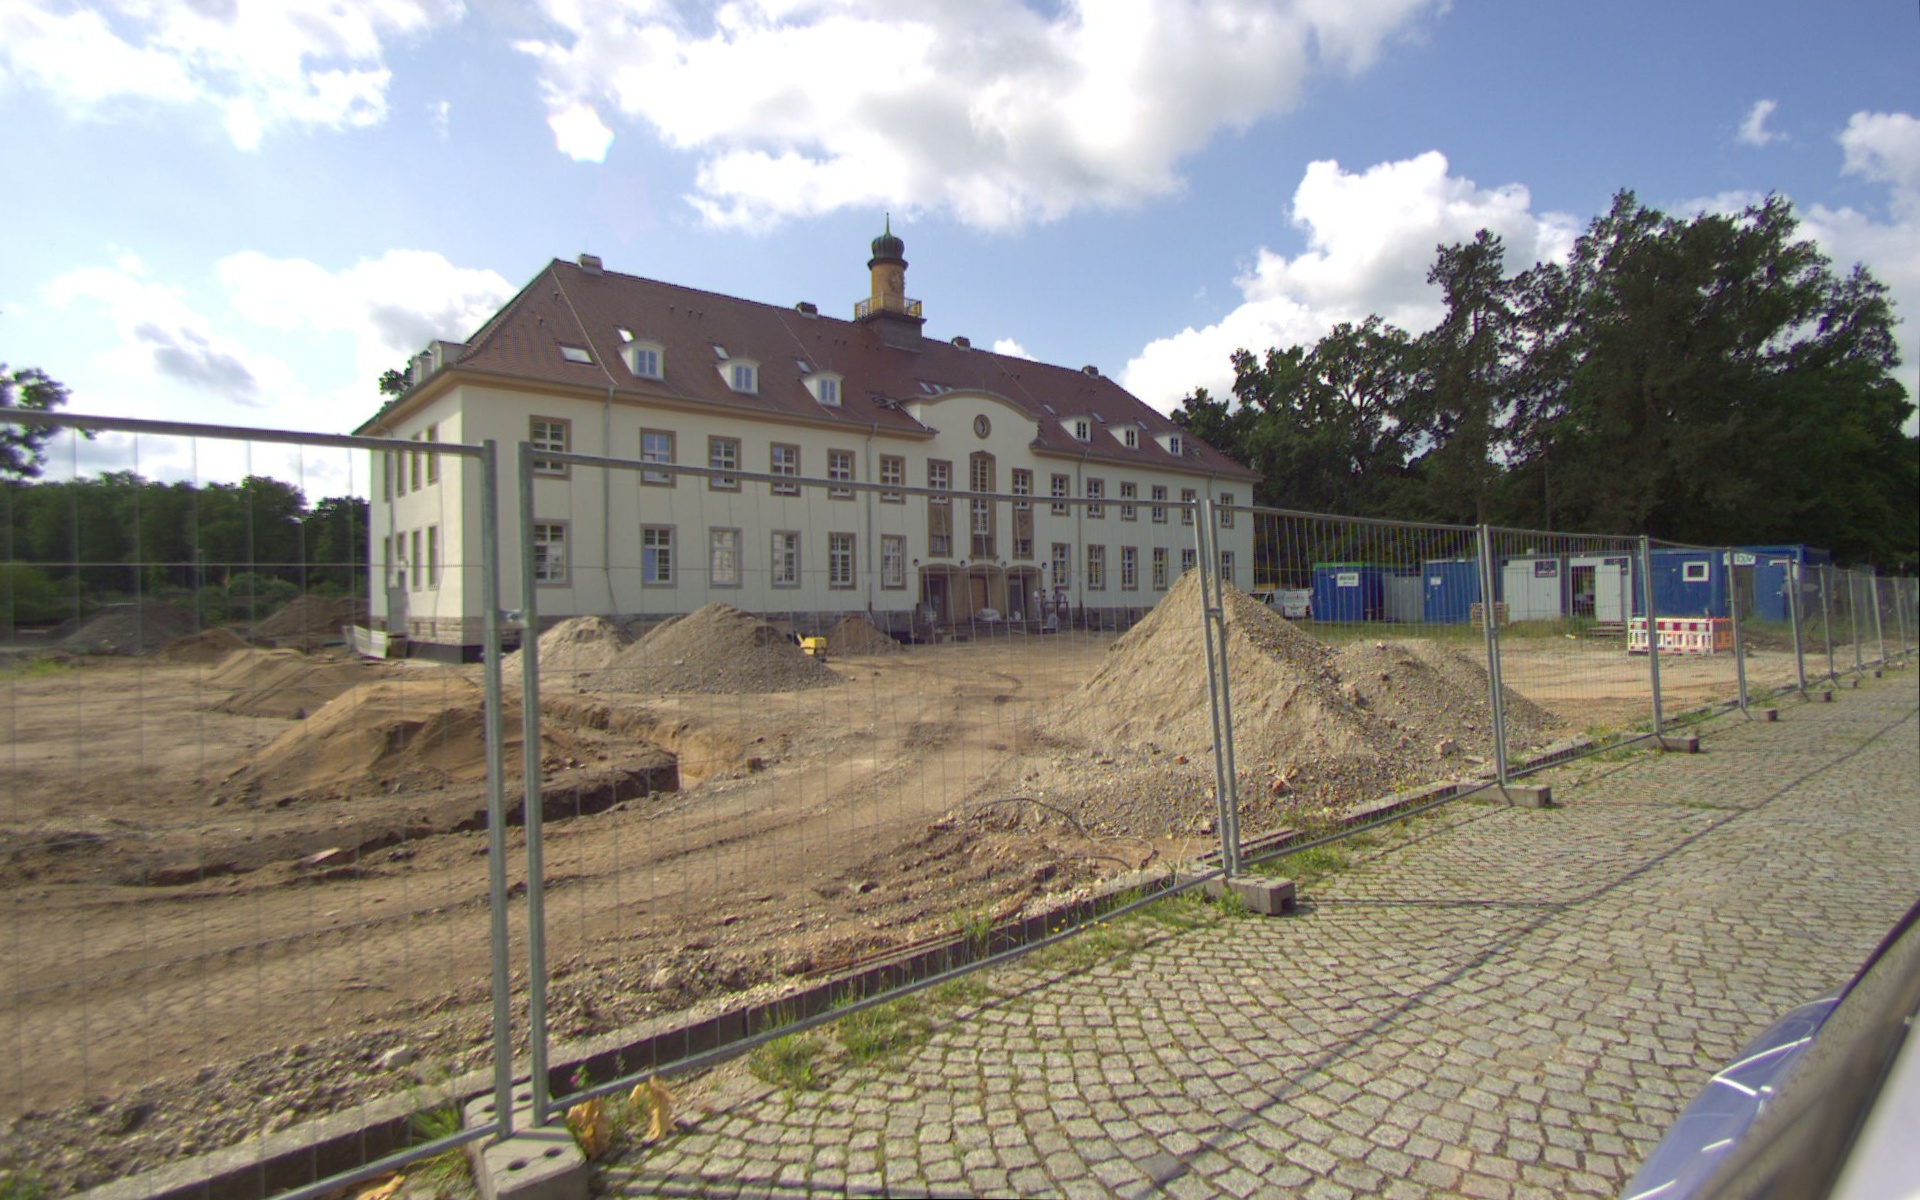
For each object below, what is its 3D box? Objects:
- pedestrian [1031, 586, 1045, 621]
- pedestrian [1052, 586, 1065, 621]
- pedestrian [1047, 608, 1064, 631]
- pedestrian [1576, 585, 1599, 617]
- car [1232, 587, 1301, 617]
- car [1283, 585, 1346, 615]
[{"bbox_3d":[3.990,0.181,51.859,0.496,1.810,0.492,-1,-1,-18],"label":"pedestrian"},{"bbox_3d":[5.131,0.161,52.727,0.498,1.810,0.490,0,-1,-44],"label":"pedestrian"},{"bbox_3d":[4.775,0.983,50.736,0.697,1.128,0.490,0,-1,-43],"label":"pedestrian"},{"bbox_3d":[24.761,0.052,39.947,0.671,1.259,0.602,0,-1,-42],"label":"pedestrian"},{"bbox_3d":[19.218,0.114,63.341,4.624,1.750,1.883,-1,0,-40],"label":"car"},{"bbox_3d":[21.414,-0.023,61.050,3.968,1.705,1.801,-1,0,-40],"label":"car"}]
